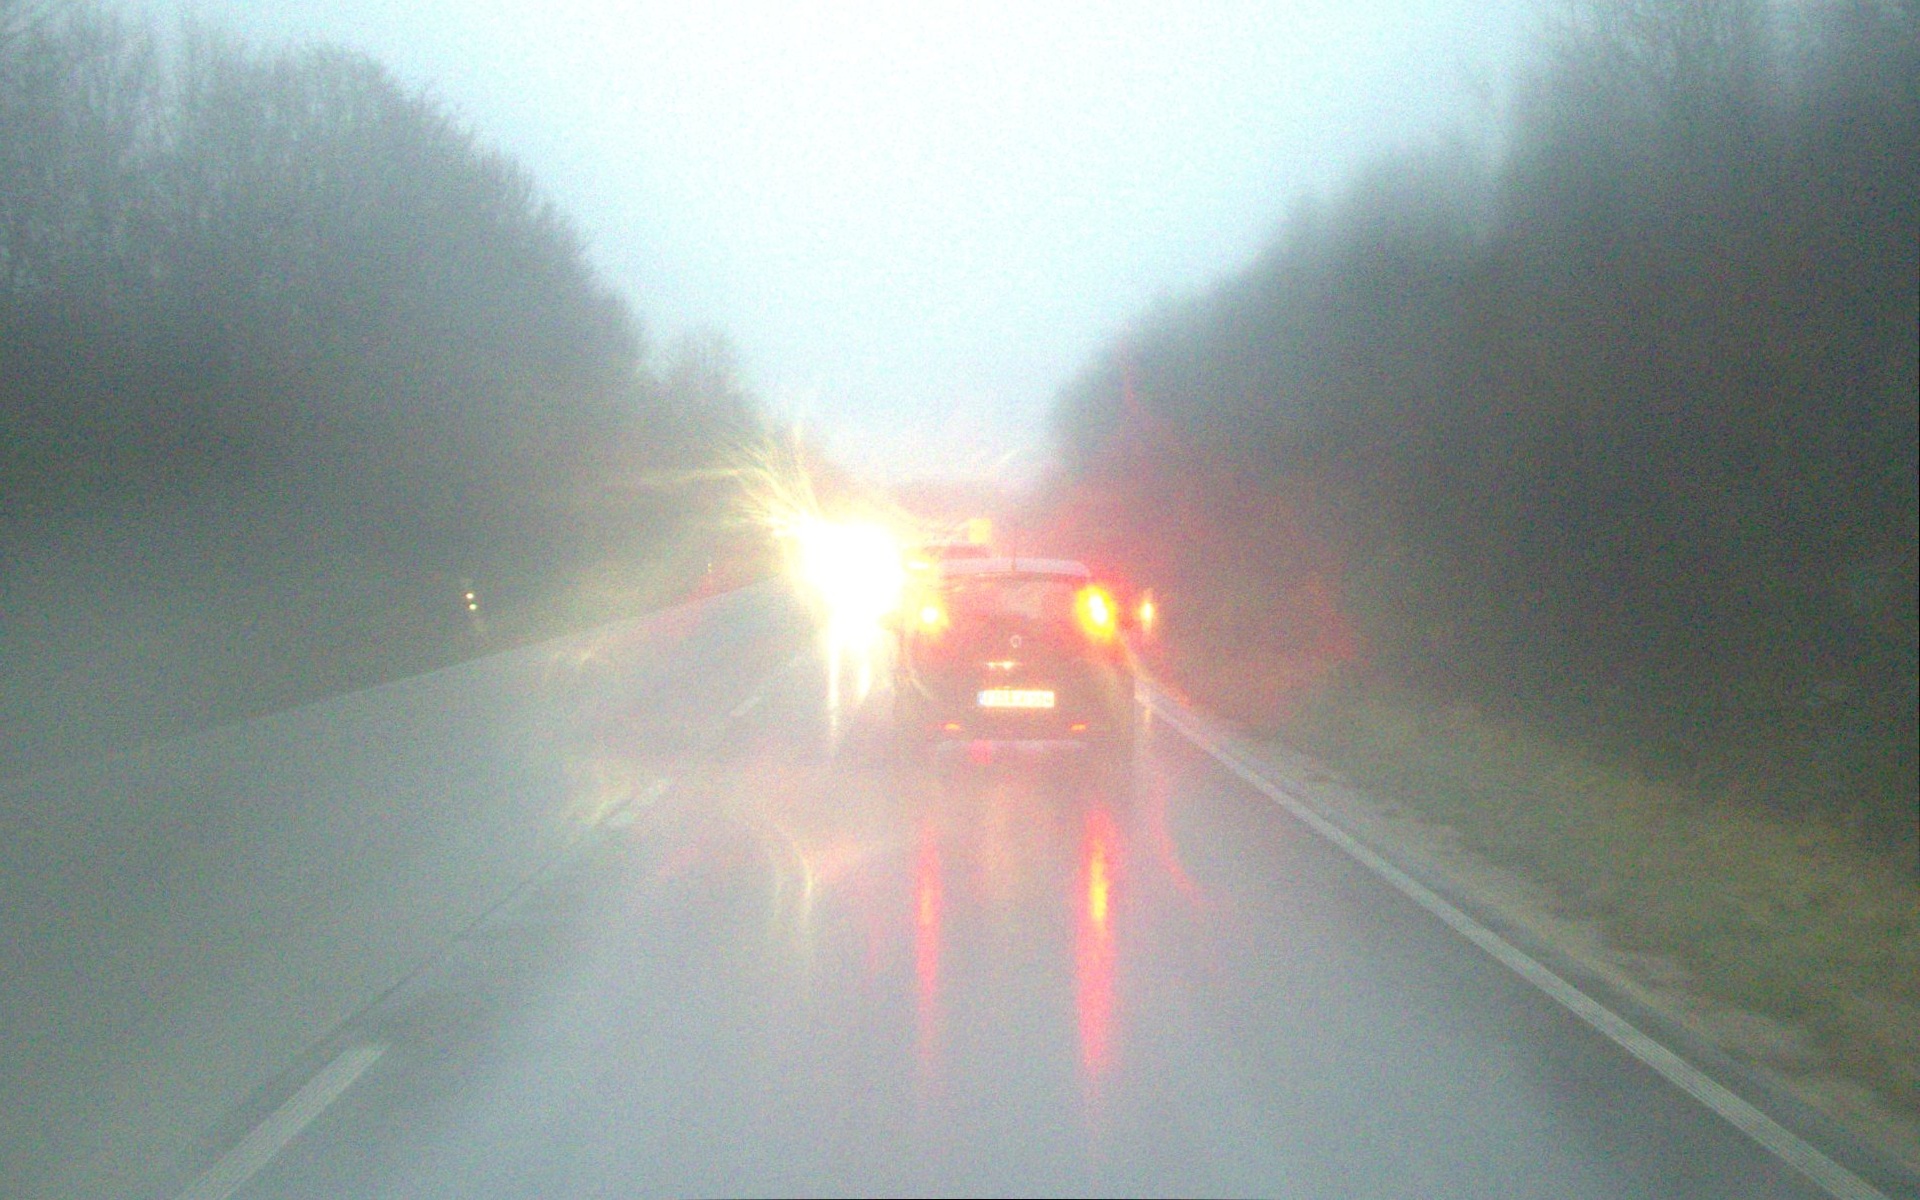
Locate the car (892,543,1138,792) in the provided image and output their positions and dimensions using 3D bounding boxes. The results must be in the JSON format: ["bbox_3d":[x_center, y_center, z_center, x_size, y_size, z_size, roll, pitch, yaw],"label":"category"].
[{"bbox_3d":[0.401,0.432,24.967,1.648,1.666,3.514,1,1,1],"label":"car"}]

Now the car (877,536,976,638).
[{"bbox_3d":[-0.613,-0.254,62.497,1.733,1.773,4.000,0,1,-1],"label":"car"}]
